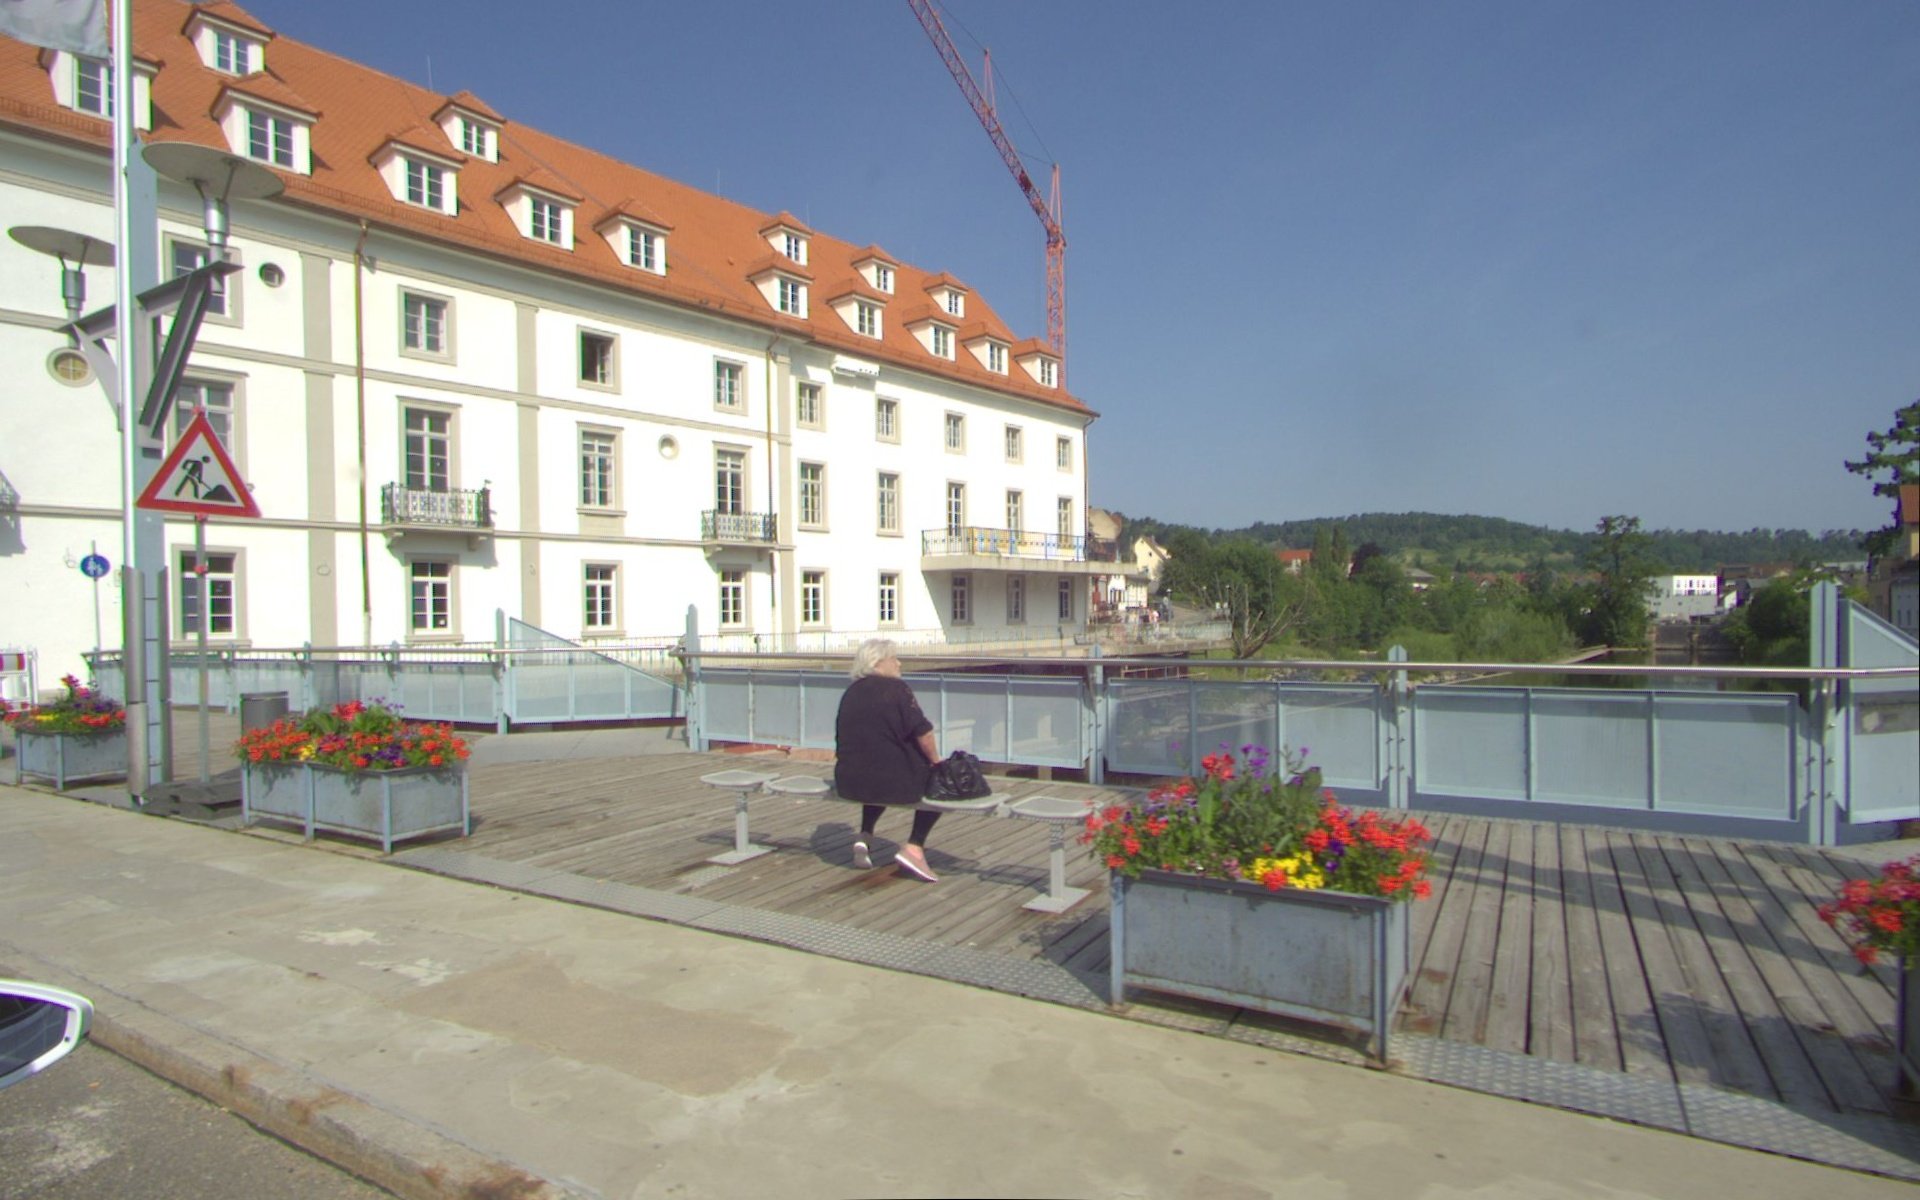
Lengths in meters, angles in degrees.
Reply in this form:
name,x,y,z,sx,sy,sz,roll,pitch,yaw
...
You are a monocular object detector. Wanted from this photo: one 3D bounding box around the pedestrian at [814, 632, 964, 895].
name,x,y,z,sx,sy,sz,roll,pitch,yaw
pedestrian,-0.363,0.802,5.178,0.616,1.260,0.451,-1,0,26
